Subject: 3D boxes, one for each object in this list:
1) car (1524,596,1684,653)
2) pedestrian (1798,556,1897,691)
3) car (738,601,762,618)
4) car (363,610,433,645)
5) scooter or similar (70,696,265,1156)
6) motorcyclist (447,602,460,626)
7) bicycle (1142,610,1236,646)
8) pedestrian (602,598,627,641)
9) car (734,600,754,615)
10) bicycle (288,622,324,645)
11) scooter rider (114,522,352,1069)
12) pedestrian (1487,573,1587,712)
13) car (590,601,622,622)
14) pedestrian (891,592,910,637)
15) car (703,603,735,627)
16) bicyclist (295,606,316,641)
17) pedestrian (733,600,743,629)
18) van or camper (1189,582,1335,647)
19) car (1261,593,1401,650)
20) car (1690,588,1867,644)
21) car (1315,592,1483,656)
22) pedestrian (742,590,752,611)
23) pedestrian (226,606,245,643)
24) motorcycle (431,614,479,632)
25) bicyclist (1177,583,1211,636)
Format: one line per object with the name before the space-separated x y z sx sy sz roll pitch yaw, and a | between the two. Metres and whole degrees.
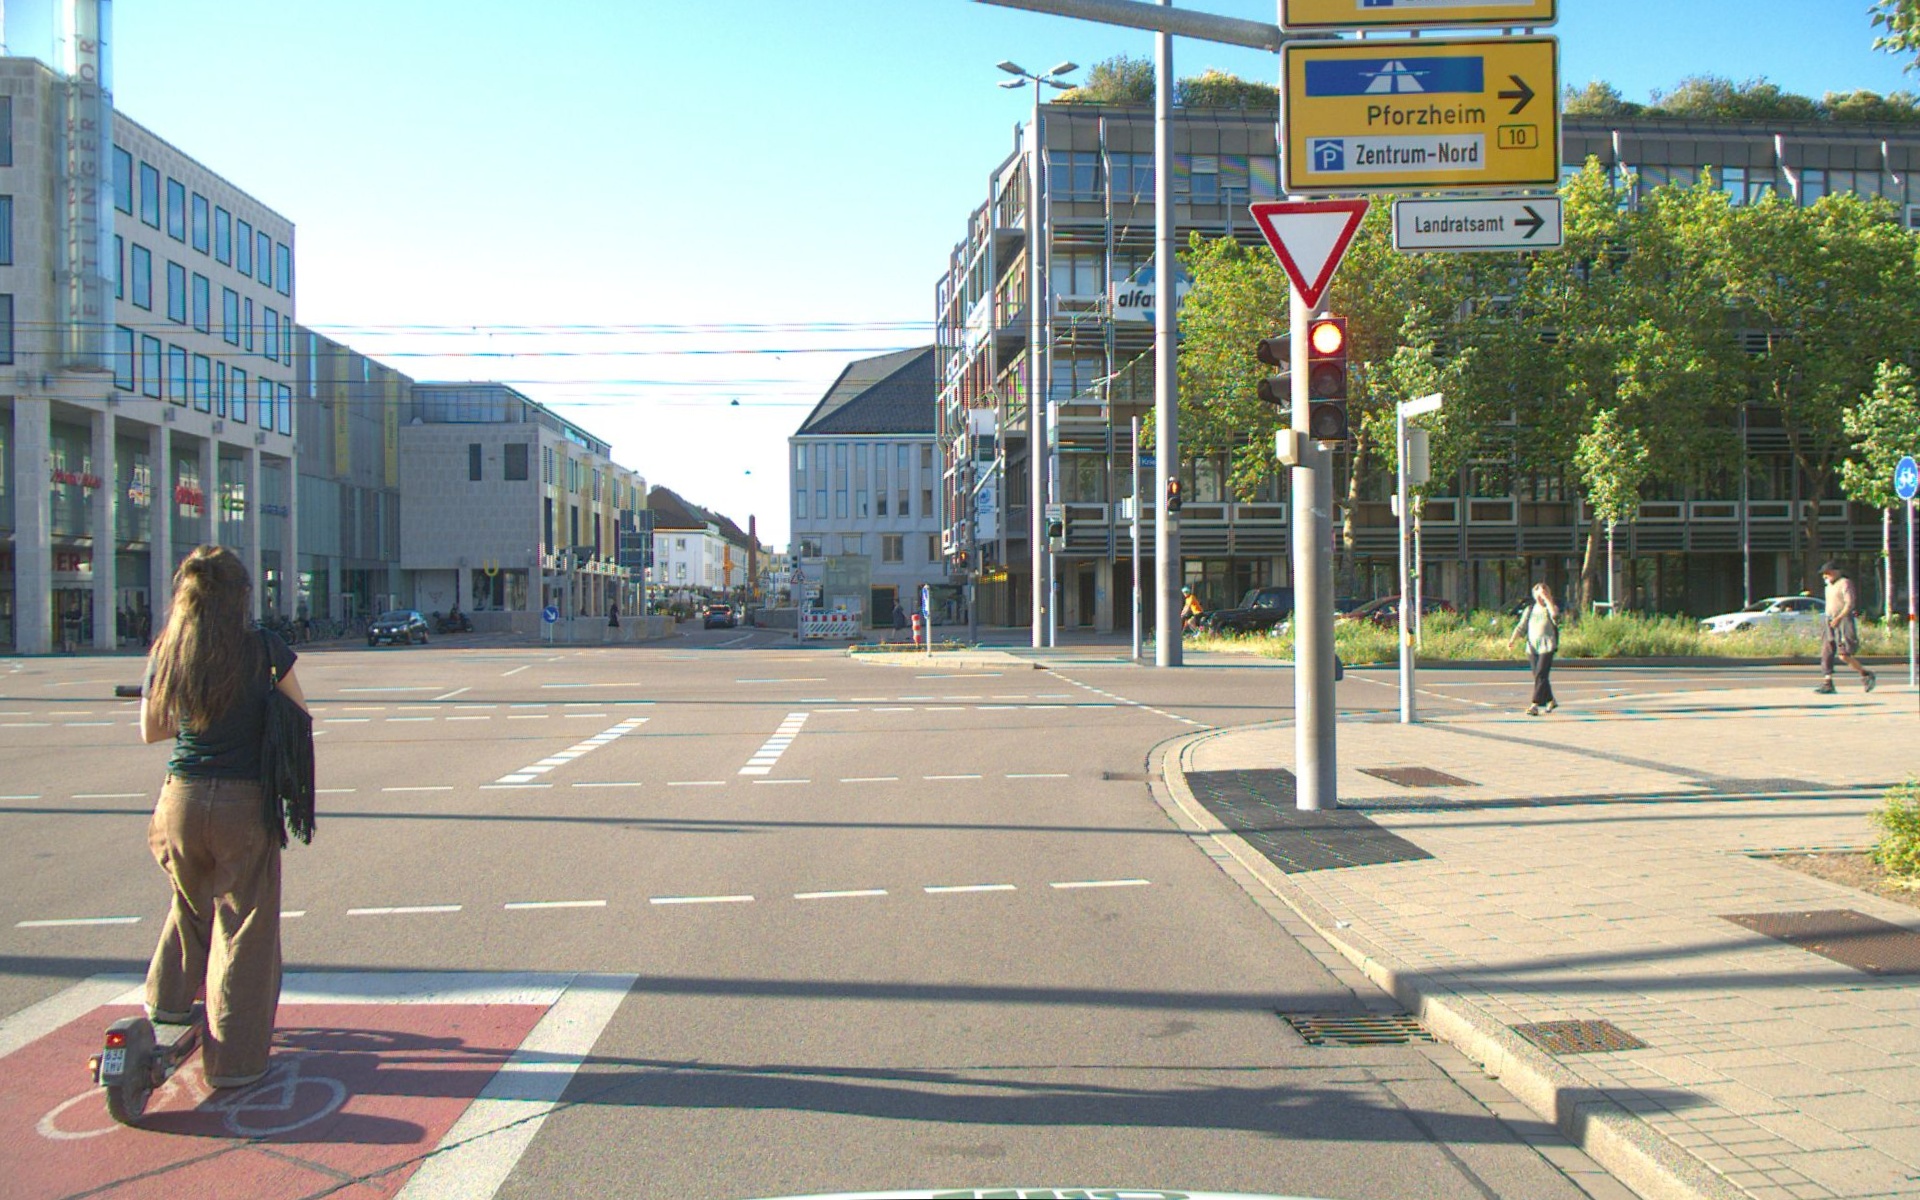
car | 20.194 0.761 51.967 4.317 1.713 1.824 -1 0 -4
pedestrian | 11.632 0.299 21.696 0.854 1.736 0.768 -1 0 -3
car | -18.460 0.836 145.553 1.625 1.484 3.541 -1 0 -1
car | -23.563 1.131 69.452 1.642 1.381 4.019 -1 0 -2
scooter or similar | -2.225 0.864 4.697 0.301 1.127 0.836 -1 0 -12
motorcyclist | -30.000 0.839 97.944 0.616 1.430 0.661 1 -1 -9
bicycle | 6.527 0.797 47.207 2.517 0.992 1.047 -1 0 -4
pedestrian | -13.358 0.753 63.943 0.760 1.667 0.626 -1 0 3
car | -21.641 0.727 165.839 1.625 1.484 3.541 -1 0 -1
bicycle | -27.603 1.417 69.879 0.622 0.919 2.218 -1 0 0
scooter rider | -2.172 0.554 4.981 0.542 1.556 0.448 -1 0 -9
pedestrian | 6.984 0.496 20.037 0.860 1.642 0.762 -1 0 -25
car | -26.086 0.846 121.828 1.625 1.484 3.541 -1 0 -1
pedestrian | -2.327 0.561 64.598 0.685 1.718 0.619 -1 0 0
car | -15.695 0.962 107.829 1.625 1.484 3.541 -1 0 -1
bicyclist | -27.628 0.988 69.826 0.613 1.473 0.589 -1 0 0
pedestrian | -13.436 0.879 100.016 0.481 1.693 0.529 1 -1 -15
van or camper | 9.847 0.446 54.102 4.329 2.049 1.993 -1 0 -5
car | 11.423 0.652 51.141 3.907 1.713 1.761 -1 0 -2
car | 25.945 0.496 52.508 4.749 1.713 1.824 -1 0 -4
car | 12.336 0.649 46.598 4.212 1.713 1.820 -1 0 -11
pedestrian | -21.145 0.048 164.367 0.892 1.999 0.822 1 -1 -1
pedestrian | -32.791 1.117 74.883 0.580 1.674 0.629 -1 0 -1
motorcycle | -29.823 1.329 97.745 2.555 1.010 1.113 1 0 -10
bicyclist | 6.682 0.278 47.228 0.806 1.500 0.652 -1 0 -5
